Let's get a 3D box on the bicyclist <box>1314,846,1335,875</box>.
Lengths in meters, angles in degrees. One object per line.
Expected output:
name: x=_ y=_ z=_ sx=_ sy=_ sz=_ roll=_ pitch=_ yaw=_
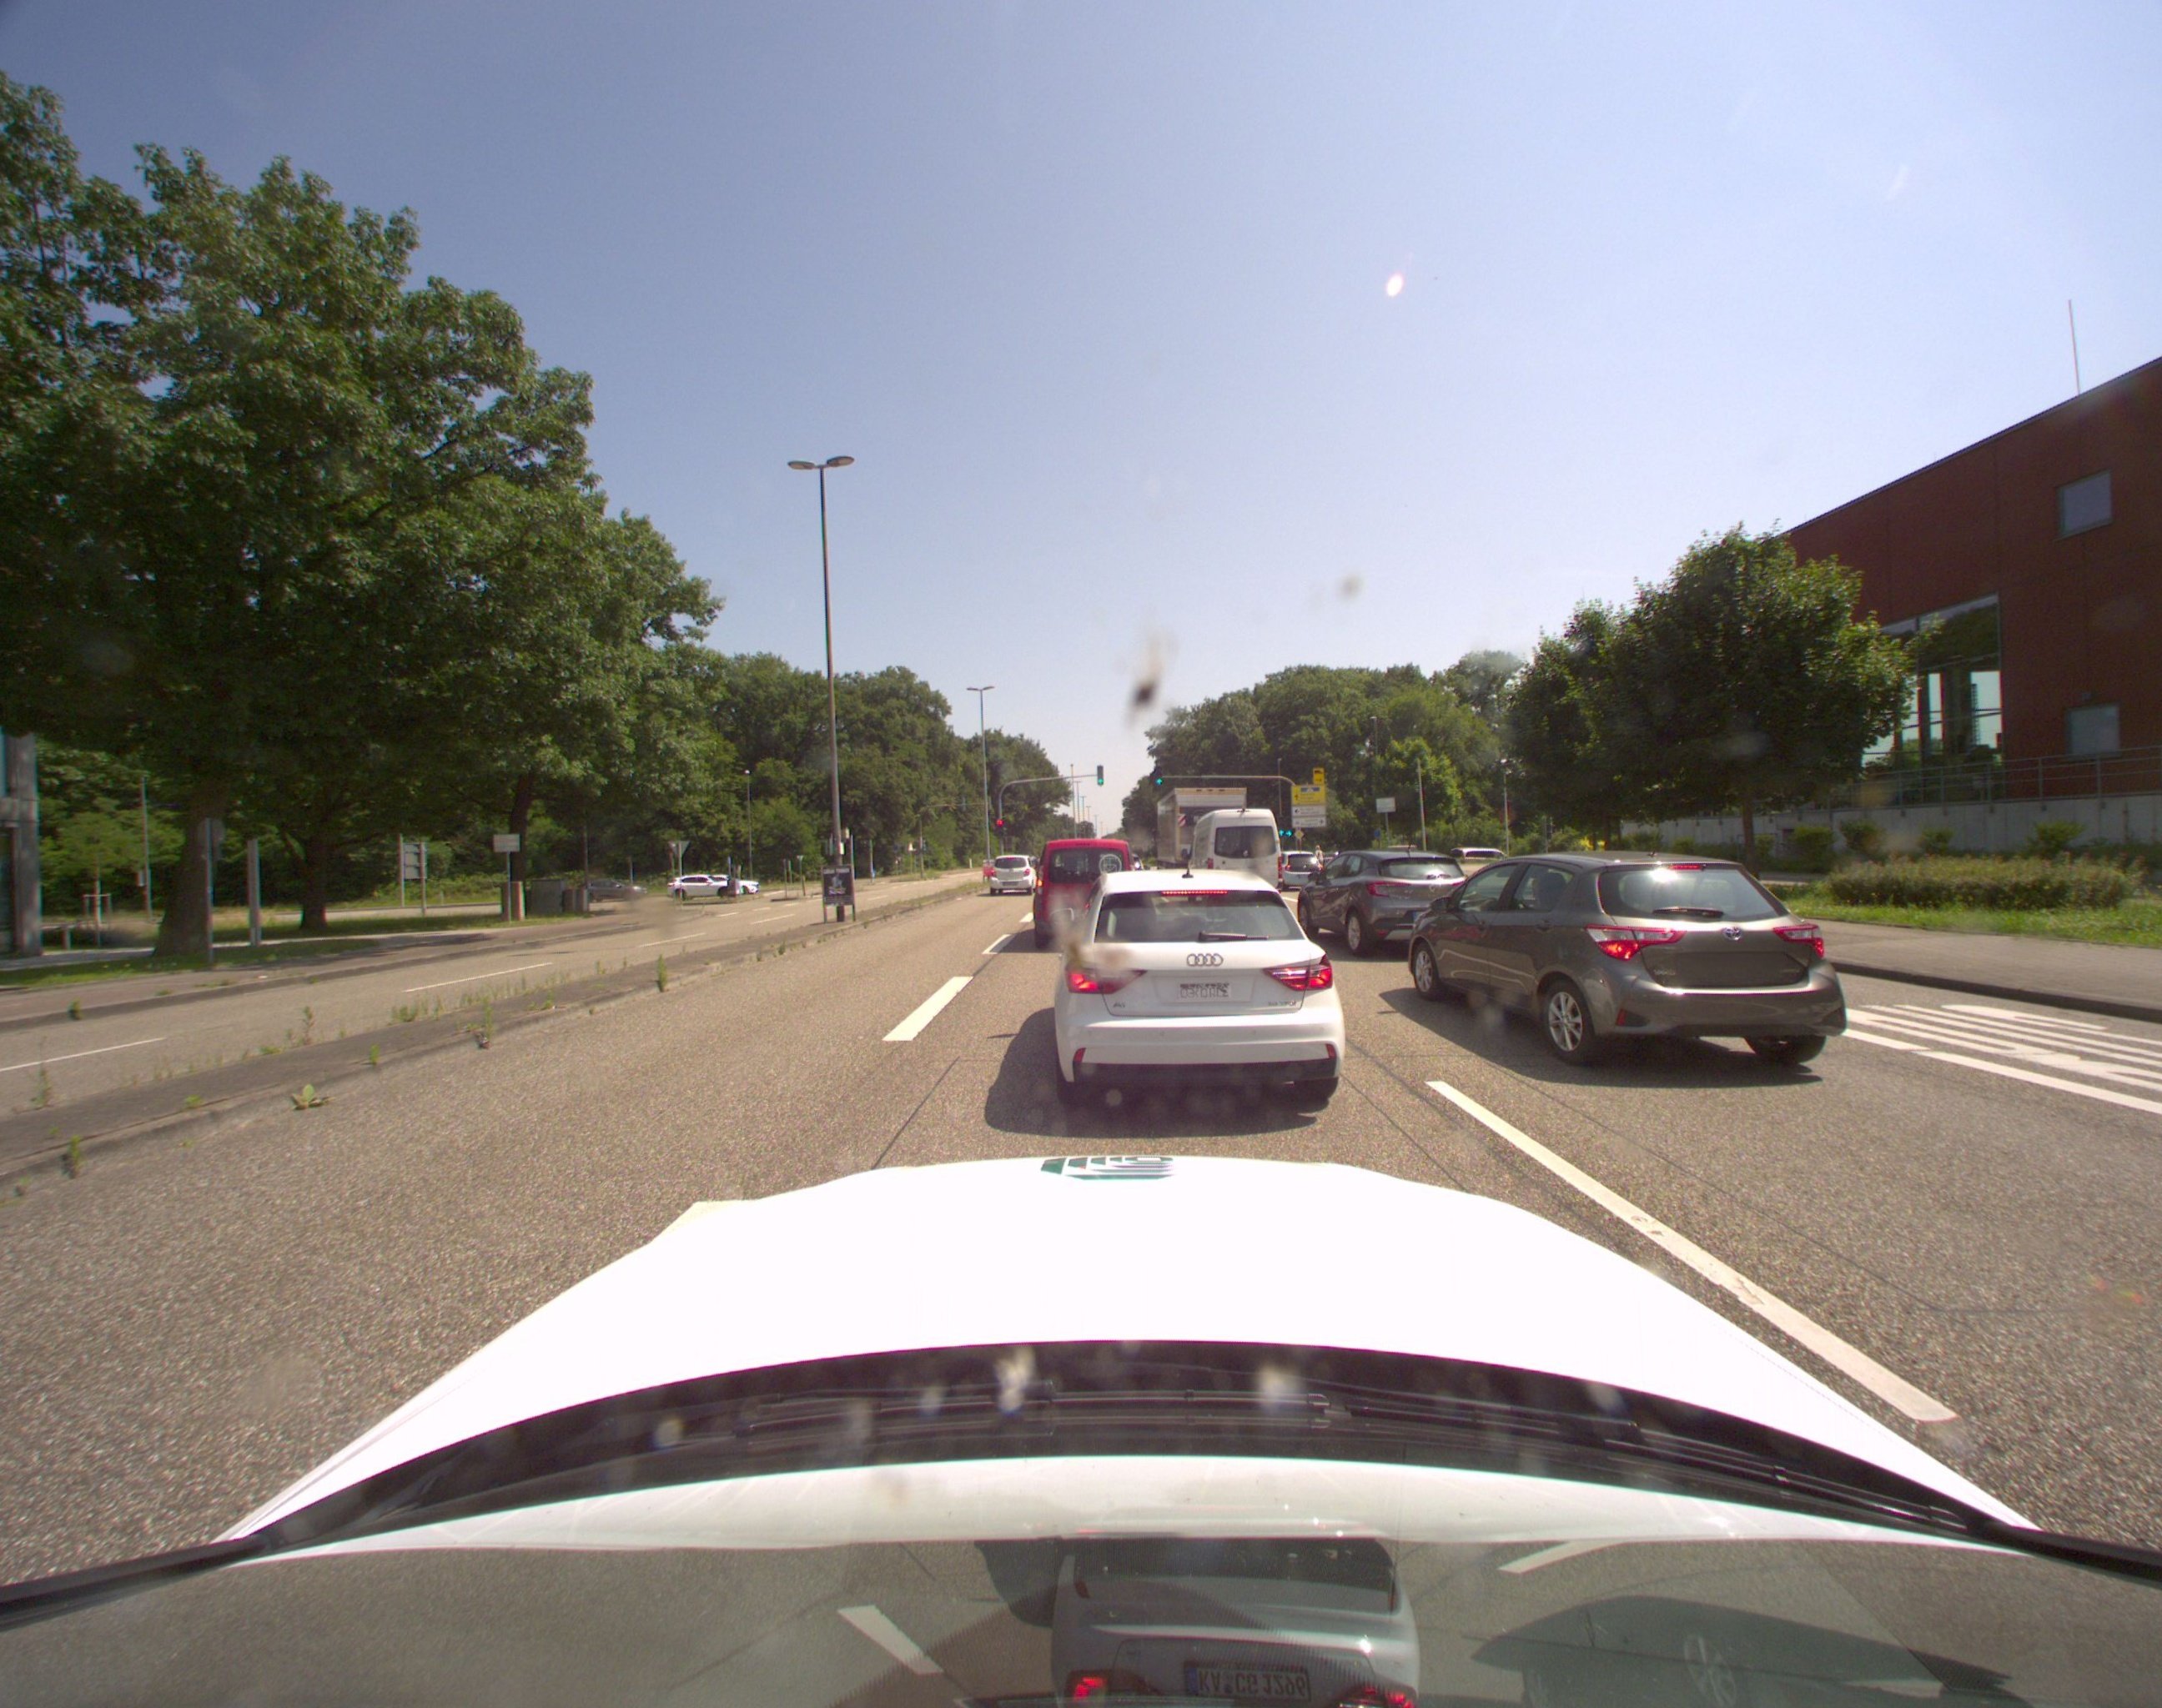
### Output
bicyclist: x=12.690 y=0.338 z=42.464 sx=0.832 sy=1.439 sz=0.593 roll=-2 pitch=0 yaw=-34

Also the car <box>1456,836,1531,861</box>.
car: x=29.506 y=-0.398 z=58.380 sx=4.455 sy=1.530 sz=1.798 roll=-2 pitch=0 yaw=1

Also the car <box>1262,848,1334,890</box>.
car: x=8.501 y=0.554 z=32.234 sx=1.706 sy=1.546 sz=4.091 roll=-1 pitch=0 yaw=0

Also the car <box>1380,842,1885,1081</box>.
car: x=4.273 y=0.686 z=7.235 sx=1.706 sy=1.478 sz=4.091 roll=1 pitch=0 yaw=0

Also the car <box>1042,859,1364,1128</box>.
car: x=0.665 y=0.760 z=6.431 sx=1.706 sy=1.386 sz=4.091 roll=-1 pitch=0 yaw=0

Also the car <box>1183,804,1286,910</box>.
car: x=4.182 y=0.077 z=23.022 sx=2.024 sy=2.644 sz=4.845 roll=-1 pitch=0 yaw=1

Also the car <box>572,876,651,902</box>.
car: x=-32.564 y=2.421 z=56.611 sx=4.370 sy=1.681 sz=1.804 roll=0 pitch=-1 yaw=-10

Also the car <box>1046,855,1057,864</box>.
car: x=-6.005 y=1.182 z=165.950 sx=1.987 sy=1.772 sz=4.205 roll=-2 pitch=0 yaw=1

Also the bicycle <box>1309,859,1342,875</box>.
bicycle: x=12.785 y=0.688 z=42.533 sx=1.834 sy=0.766 sz=0.594 roll=-2 pitch=0 yaw=-34

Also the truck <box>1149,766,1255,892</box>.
truck: x=4.794 y=-0.901 z=34.735 sx=3.077 sy=4.434 sz=11.584 roll=-1 pitch=0 yaw=2

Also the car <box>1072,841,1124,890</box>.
car: x=0.570 y=0.383 z=29.296 sx=1.706 sy=1.631 sz=4.091 roll=-1 pitch=0 yaw=0

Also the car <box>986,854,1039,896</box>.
car: x=-2.645 y=0.777 z=32.277 sx=1.706 sy=1.493 sz=4.091 roll=-1 pitch=0 yaw=0

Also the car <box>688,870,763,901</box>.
car: x=-24.940 y=2.177 z=57.248 sx=4.367 sy=1.681 sz=1.806 roll=-6 pitch=0 yaw=-7

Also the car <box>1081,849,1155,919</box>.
car: x=0.877 y=0.708 z=21.292 sx=1.706 sy=1.631 sz=4.091 roll=-1 pitch=0 yaw=0

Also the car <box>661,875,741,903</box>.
car: x=-24.853 y=2.270 z=53.424 sx=4.366 sy=1.681 sz=1.806 roll=0 pitch=-1 yaw=-7

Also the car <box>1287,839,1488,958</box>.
car: x=4.712 y=0.610 z=13.186 sx=1.706 sy=1.593 sz=4.091 roll=-1 pitch=0 yaw=0

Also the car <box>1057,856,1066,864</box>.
car: x=-4.634 y=1.413 z=189.556 sx=1.824 sy=1.728 sz=4.001 roll=-2 pitch=0 yaw=1

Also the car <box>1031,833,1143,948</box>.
car: x=0.100 y=0.564 z=14.716 sx=1.706 sy=1.748 sz=4.091 roll=-1 pitch=0 yaw=0
